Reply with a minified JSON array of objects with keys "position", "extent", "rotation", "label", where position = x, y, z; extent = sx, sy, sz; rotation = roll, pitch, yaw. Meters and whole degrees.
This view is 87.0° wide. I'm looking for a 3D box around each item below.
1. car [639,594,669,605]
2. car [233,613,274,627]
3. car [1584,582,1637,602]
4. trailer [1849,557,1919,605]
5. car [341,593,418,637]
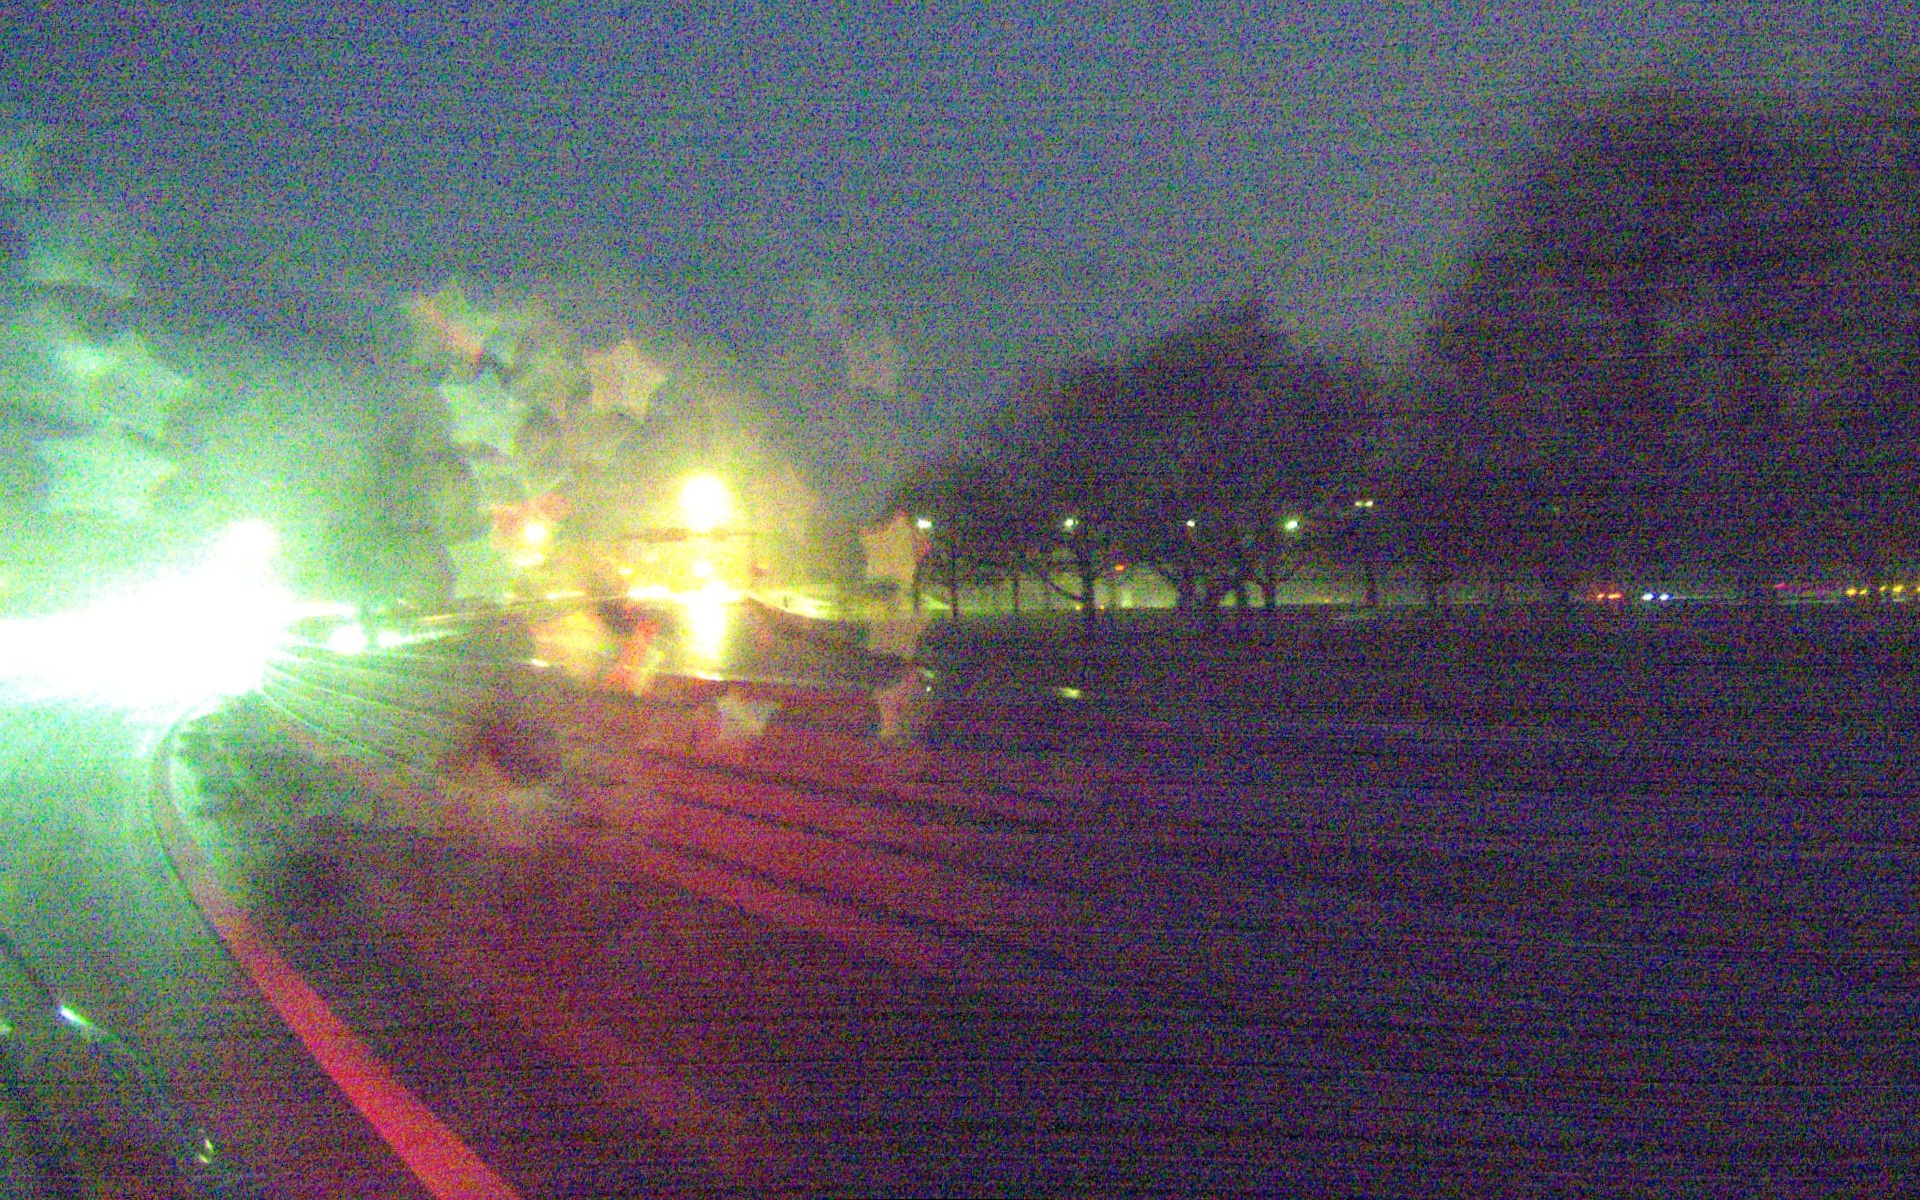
[{"position":[-46.255,-0.095,152.883],"extent":[3.932,1.452,1.724],"rotation":[-4,-1,-30],"label":"car"},{"position":[-86.785,2.487,124.395],"extent":[3.933,1.452,1.724],"rotation":[-4,0,-31],"label":"car"},{"position":[61.603,-0.738,95.848],"extent":[3.999,1.630,1.973],"rotation":[-2,1,42],"label":"car"},{"position":[79.148,-1.629,79.543],"extent":[2.559,3.752,13.677],"rotation":[-4,2,-39],"label":"trailer"},{"position":[-26.070,0.634,45.609],"extent":[1.966,1.760,4.112],"rotation":[-3,1,-15],"label":"car"}]
